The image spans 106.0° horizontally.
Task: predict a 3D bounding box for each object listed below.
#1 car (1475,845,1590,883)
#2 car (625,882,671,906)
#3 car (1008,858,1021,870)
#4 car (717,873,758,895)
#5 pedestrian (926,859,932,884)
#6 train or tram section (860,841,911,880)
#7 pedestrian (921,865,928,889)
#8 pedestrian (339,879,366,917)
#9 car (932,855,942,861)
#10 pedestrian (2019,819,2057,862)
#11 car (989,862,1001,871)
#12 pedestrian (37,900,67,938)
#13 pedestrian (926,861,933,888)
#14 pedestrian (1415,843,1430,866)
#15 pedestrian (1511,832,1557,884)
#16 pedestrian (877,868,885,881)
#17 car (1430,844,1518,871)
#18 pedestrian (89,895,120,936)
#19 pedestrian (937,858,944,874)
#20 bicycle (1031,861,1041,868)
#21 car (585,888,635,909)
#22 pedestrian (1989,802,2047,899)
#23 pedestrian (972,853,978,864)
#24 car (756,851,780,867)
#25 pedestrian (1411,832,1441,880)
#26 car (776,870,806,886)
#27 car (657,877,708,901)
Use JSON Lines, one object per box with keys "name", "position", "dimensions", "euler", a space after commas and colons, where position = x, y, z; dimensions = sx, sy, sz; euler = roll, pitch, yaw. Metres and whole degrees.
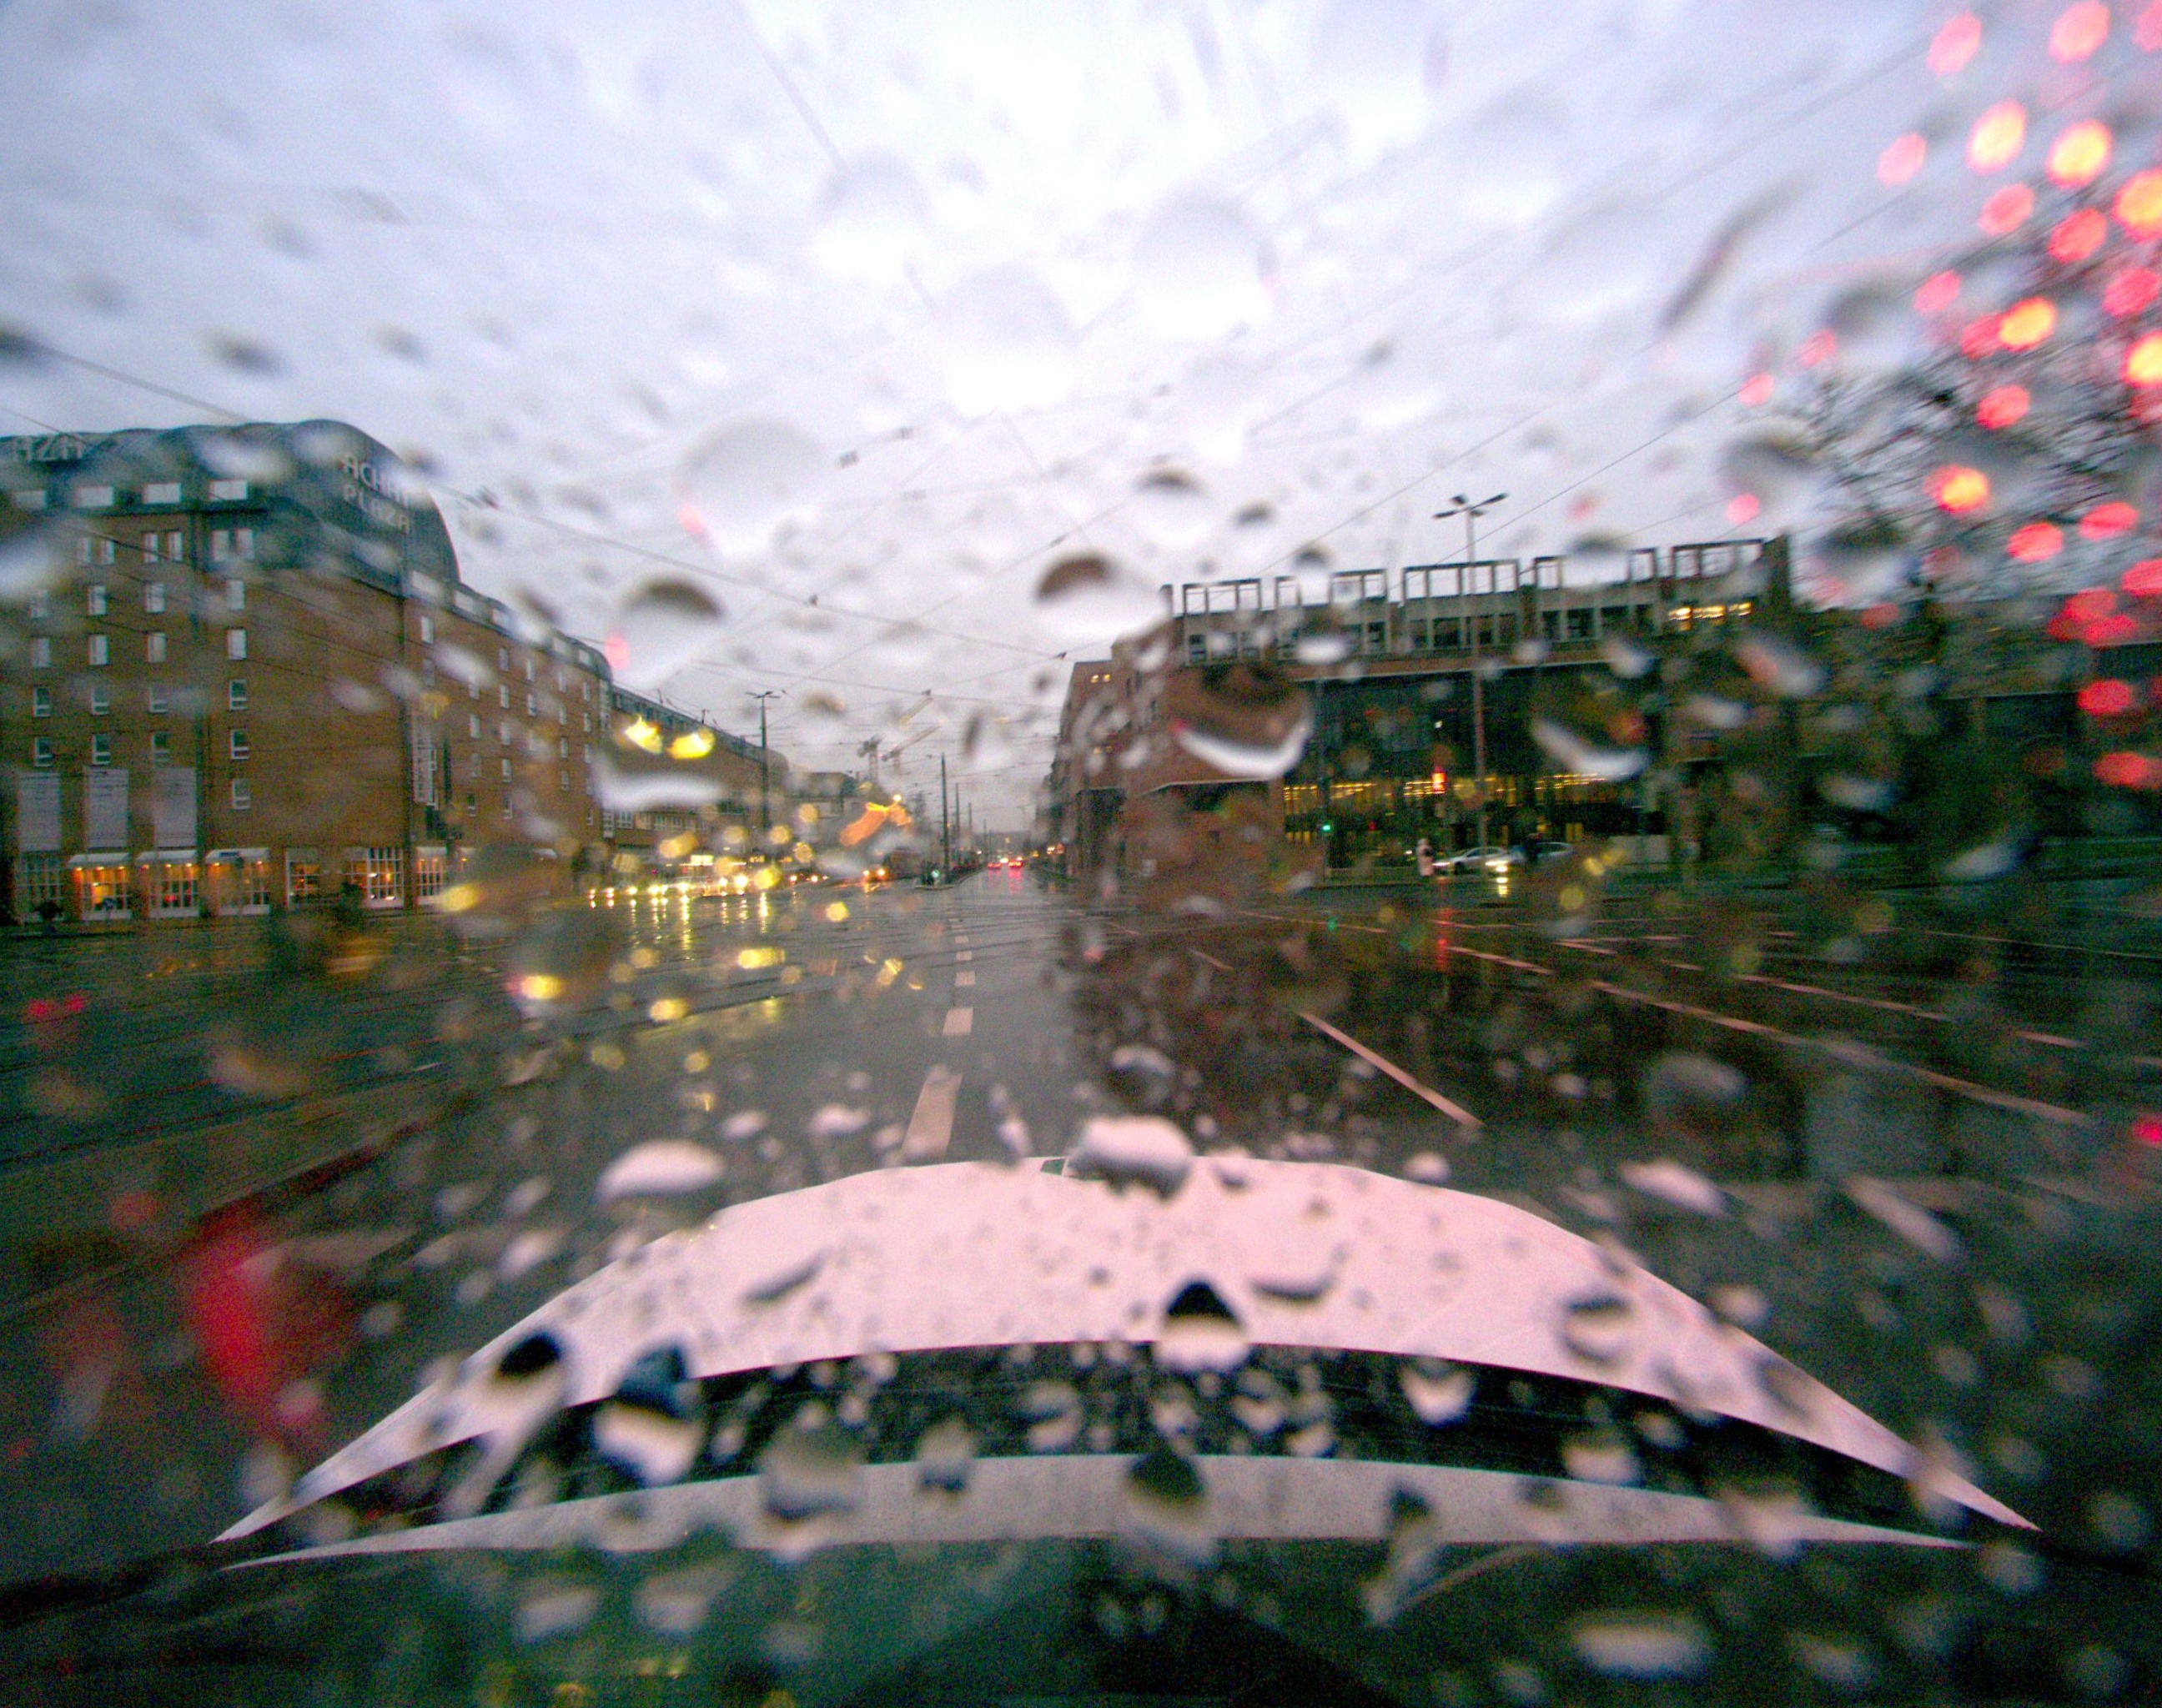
{"name": "car", "position": [19.542, 0.414, 35.384], "dimensions": [3.971, 1.341, 1.813], "euler": [-4, 0, -3]}
{"name": "car", "position": [-31.158, 2.874, 58.703], "dimensions": [1.578, 1.495, 3.591], "euler": [-2, 0, -4]}
{"name": "car", "position": [-11.762, 1.761, 144.613], "dimensions": [1.989, 2.013, 3.996], "euler": [-2, 0, -3]}
{"name": "car", "position": [-29.151, 2.536, 69.271], "dimensions": [1.826, 1.709, 4.696], "euler": [-2, 0, -5]}
{"name": "pedestrian", "position": [-10.620, 1.219, 56.939], "dimensions": [0.359, 1.787, 0.438], "euler": [-2, -1, -10]}
{"name": "train or tram section", "position": [-19.153, 0.622, 80.600], "dimensions": [2.945, 3.589, 12.235], "euler": [0, 0, -4]}
{"name": "pedestrian", "position": [-11.369, 1.679, 59.124], "dimensions": [0.433, 1.735, 0.472], "euler": [-2, -1, -10]}
{"name": "pedestrian", "position": [-40.151, 2.430, 44.900], "dimensions": [0.938, 2.014, 0.752], "euler": [-2, -1, -28]}
{"name": "car", "position": [-29.970, 0.820, 169.347], "dimensions": [1.679, 1.354, 3.538], "euler": [-1, -1, -6]}
{"name": "pedestrian", "position": [31.152, -0.448, 26.515], "dimensions": [0.602, 1.364, 0.479], "euler": [-2, 0, 3]}
{"name": "car", "position": [-14.217, 2.065, 135.014], "dimensions": [1.780, 1.467, 3.145], "euler": [-2, 0, -3]}
{"name": "pedestrian", "position": [-43.513, 2.750, 34.437], "dimensions": [0.514, 1.538, 0.577], "euler": [-2, 0, 14]}
{"name": "pedestrian", "position": [-10.697, 1.445, 57.597], "dimensions": [0.412, 1.845, 0.667], "euler": [-2, -1, -10]}
{"name": "pedestrian", "position": [21.139, 0.014, 50.418], "dimensions": [0.731, 1.389, 0.740], "euler": [-2, 0, 16]}
{"name": "pedestrian", "position": [16.354, 0.141, 29.406], "dimensions": [1.146, 1.787, 0.776], "euler": [-2, 0, -4]}
{"name": "pedestrian", "position": [-16.974, 1.743, 69.134], "dimensions": [0.579, 1.152, 0.489], "euler": [0, -1, -4]}
{"name": "car", "position": [21.406, 0.181, 44.452], "dimensions": [3.972, 1.310, 1.812], "euler": [-2, 0, -3]}
{"name": "pedestrian", "position": [-37.936, 2.383, 31.652], "dimensions": [0.514, 1.538, 0.577], "euler": [-2, 0, 14]}
{"name": "pedestrian", "position": [-13.831, 1.193, 80.283], "dimensions": [0.617, 1.590, 0.620], "euler": [-2, -1, -8]}
{"name": "bicycle", "position": [-8.012, 1.894, 143.722], "dimensions": [1.728, 1.055, 0.370], "euler": [-3, 0, -7]}
{"name": "car", "position": [-36.163, 3.402, 62.603], "dimensions": [1.609, 1.321, 4.222], "euler": [-2, 0, -4]}
{"name": "pedestrian", "position": [18.033, -0.065, 15.677], "dimensions": [0.804, 1.811, 0.643], "euler": [-2, -1, -39]}
{"name": "pedestrian", "position": [-15.588, 0.652, 119.561], "dimensions": [0.681, 1.516, 0.615], "euler": [-1, -1, -17]}
{"name": "car", "position": [-41.280, 0.638, 107.492], "dimensions": [1.990, 2.014, 3.993], "euler": [0, 0, -5]}
{"name": "pedestrian", "position": [13.358, 0.082, 31.546], "dimensions": [0.733, 1.787, 0.733], "euler": [-2, 0, -8]}
{"name": "car", "position": [-25.767, 2.118, 72.488], "dimensions": [1.679, 1.354, 3.538], "euler": [-1, -1, -6]}
{"name": "car", "position": [-28.061, 2.461, 57.480], "dimensions": [1.665, 1.495, 4.195], "euler": [-2, 0, -4]}
